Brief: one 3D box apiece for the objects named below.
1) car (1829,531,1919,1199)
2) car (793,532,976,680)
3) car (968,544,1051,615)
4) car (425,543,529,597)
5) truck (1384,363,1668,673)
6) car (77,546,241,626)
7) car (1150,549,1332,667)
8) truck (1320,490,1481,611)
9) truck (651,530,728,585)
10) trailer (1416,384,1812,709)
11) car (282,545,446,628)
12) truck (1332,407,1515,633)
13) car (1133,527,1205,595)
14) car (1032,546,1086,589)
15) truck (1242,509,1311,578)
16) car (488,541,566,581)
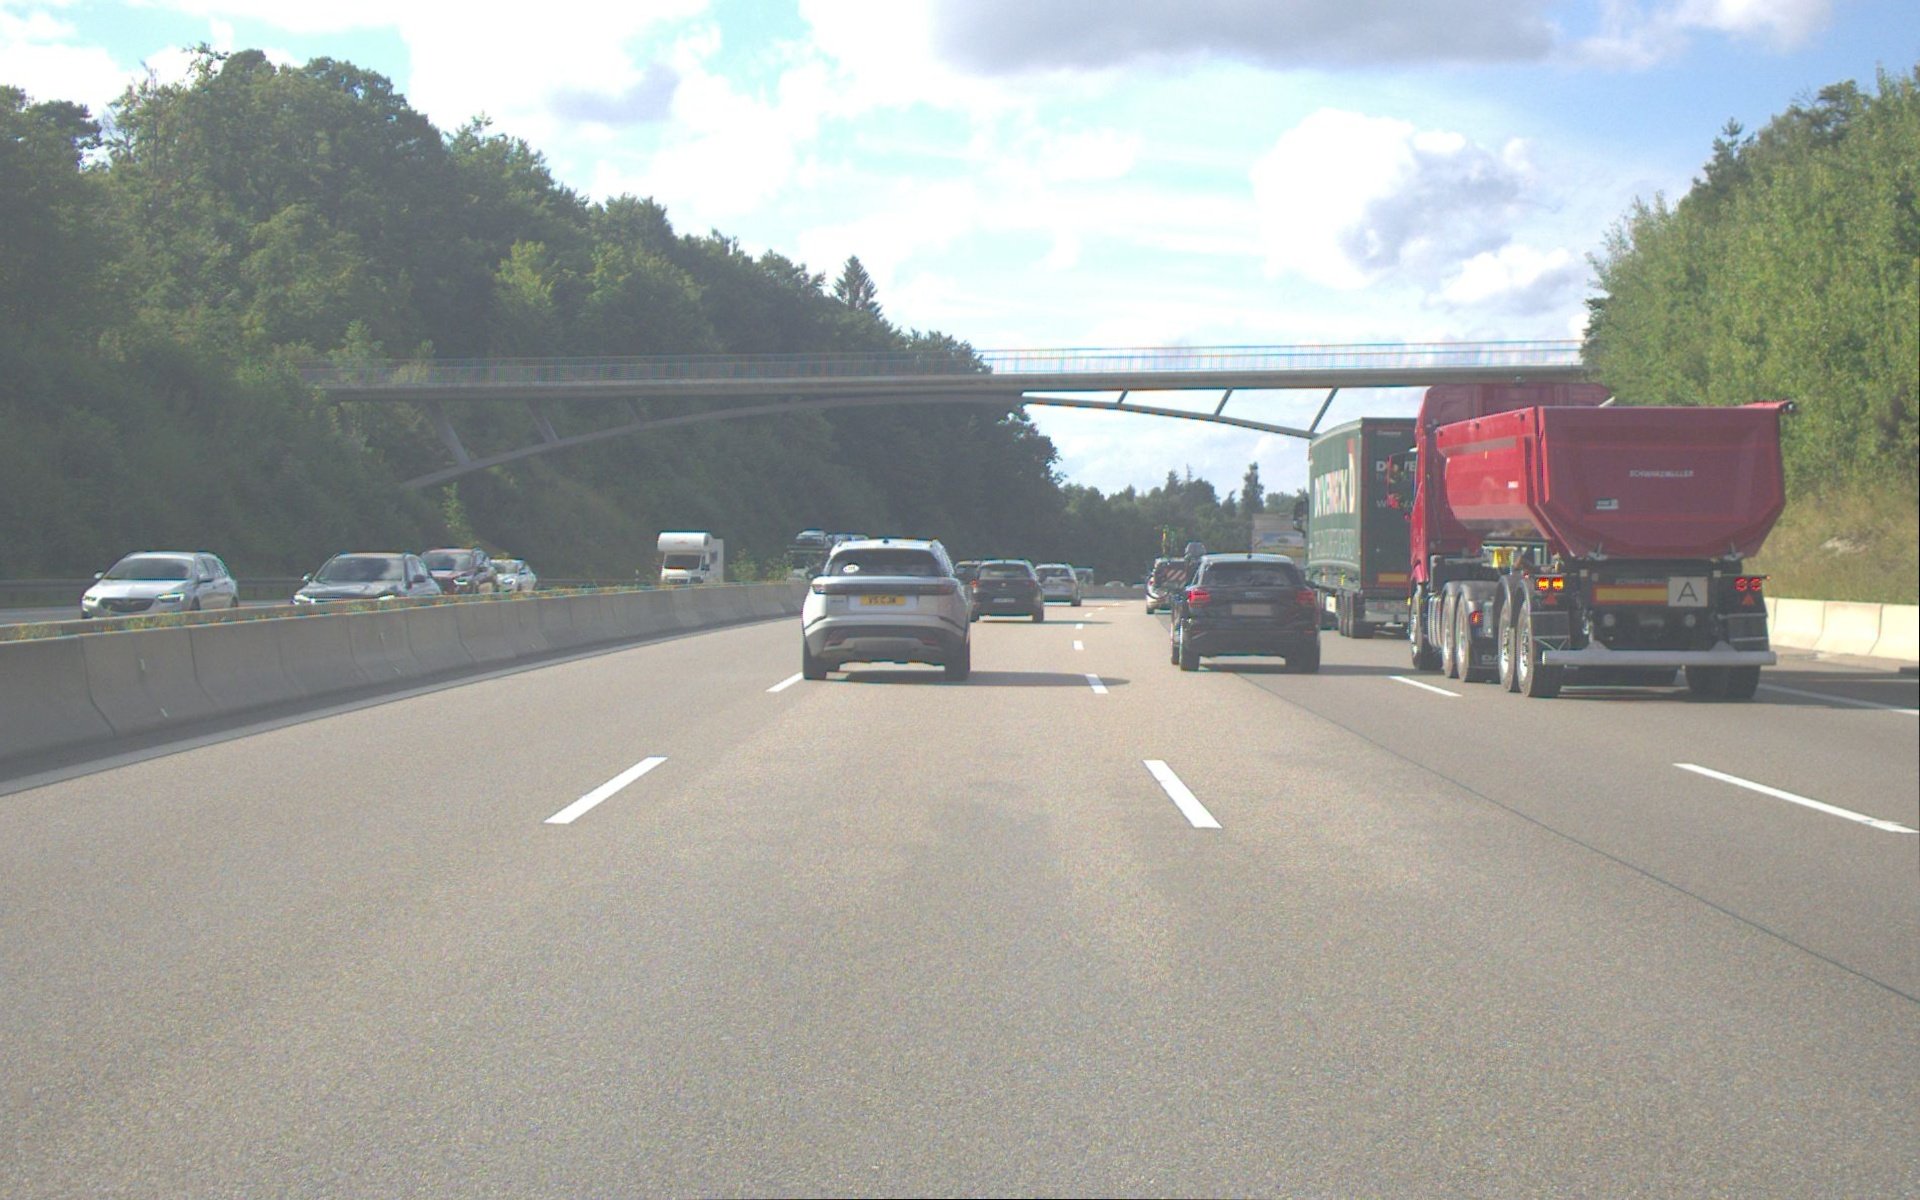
[{"bbox_3d":[2.933,0.642,5.619,1.773,1.525,4.458,-1,1,-1],"label":"car"},{"bbox_3d":[-0.841,0.011,41.514,2.006,1.610,5.301,1,2,1],"label":"car"},{"bbox_3d":[1.180,-0.500,80.604,1.822,1.541,4.000,2,1,2],"label":"car"},{"bbox_3d":[-12.092,-0.774,86.340,1.845,1.292,4.258,1,1,2],"label":"car"},{"bbox_3d":[7.185,-1.040,44.369,2.710,3.706,5.817,1,1,1],"label":"truck"},{"bbox_3d":[-13.701,-0.269,59.016,1.845,1.292,4.259,0,1,-1],"label":"car"},{"bbox_3d":[3.616,0.071,44.834,1.822,1.452,4.001,0,1,-3],"label":"car"},{"bbox_3d":[10.471,-1.210,82.468,2.711,2.730,8.054,0,1,-1],"label":"truck"},{"bbox_3d":[-13.509,-2.152,171.896,2.866,2.670,7.007,1,1,4],"label":"truck"},{"bbox_3d":[7.163,-0.623,39.149,2.710,3.220,9.733,1,1,1],"label":"trailer"},{"bbox_3d":[-9.810,-0.248,56.906,1.845,1.292,4.259,1,1,2],"label":"car"},{"bbox_3d":[8.749,-1.494,65.158,3.119,3.921,10.408,1,1,7],"label":"truck"},{"bbox_3d":[5.800,-1.097,95.737,1.894,1.850,4.100,1,1,2],"label":"car"},{"bbox_3d":[3.437,-1.138,119.563,1.822,1.452,4.000,1,1,2],"label":"car"},{"bbox_3d":[13.793,-2.465,149.664,2.845,2.915,8.384,1,1,5],"label":"truck"},{"bbox_3d":[-14.537,-1.313,115.569,1.845,1.292,4.258,1,1,3],"label":"car"}]
